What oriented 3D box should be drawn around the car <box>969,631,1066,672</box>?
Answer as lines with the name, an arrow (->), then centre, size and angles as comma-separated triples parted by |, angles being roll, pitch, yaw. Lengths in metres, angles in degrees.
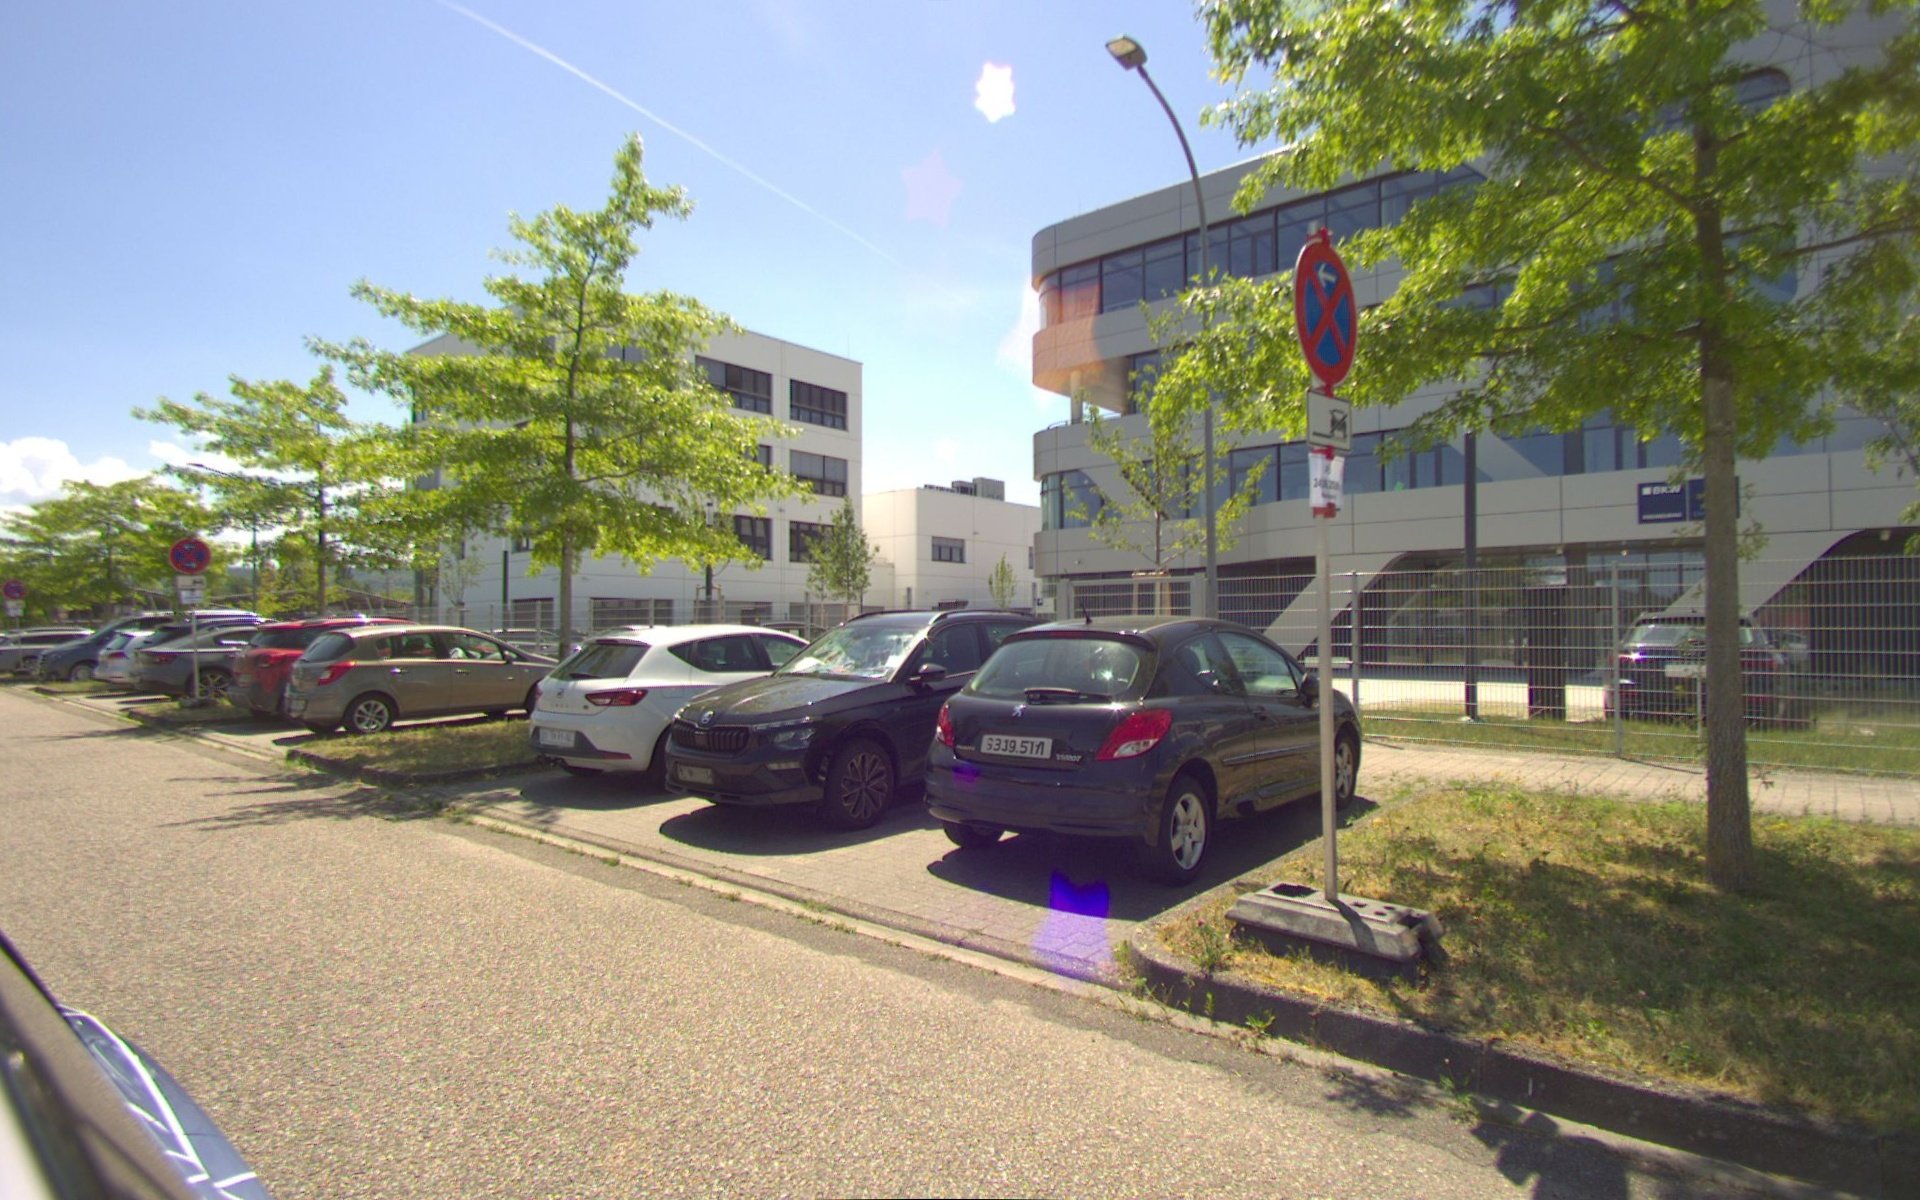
car -> 2.534, 2.302, 45.054 | 3.997, 1.730, 1.973 | -2, -4, 41

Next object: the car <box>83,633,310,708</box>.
car -> -17.913, 1.600, 23.911 | 1.602, 1.472, 3.999 | -2, -1, 38

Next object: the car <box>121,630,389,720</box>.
car -> -14.138, 1.434, 20.481 | 1.712, 1.491, 4.150 | -2, -1, 41

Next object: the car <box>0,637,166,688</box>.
car -> -29.847, 2.064, 34.026 | 1.856, 1.458, 4.666 | -3, -1, 39

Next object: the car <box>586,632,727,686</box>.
car -> -8.461, 1.617, 28.376 | 1.676, 1.401, 3.444 | -2, -3, 40

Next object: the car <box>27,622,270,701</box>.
car -> -22.355, 1.612, 28.060 | 1.996, 1.906, 5.015 | -3, -2, 42

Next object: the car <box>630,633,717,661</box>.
car -> -13.230, 2.146, 46.596 | 3.998, 1.237, 1.973 | -1, -3, 41

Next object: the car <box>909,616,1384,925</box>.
car -> 1.484, 0.877, 6.924 | 1.724, 1.446, 3.591 | -2, -1, 38

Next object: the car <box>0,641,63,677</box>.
car -> -45.029, 2.817, 47.815 | 1.728, 1.604, 3.862 | -3, -2, 44

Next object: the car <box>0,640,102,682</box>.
car -> -38.091, 2.514, 41.594 | 1.806, 1.524, 4.127 | -4, -2, 42

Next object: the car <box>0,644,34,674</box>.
car -> -48.866, 3.004, 50.713 | 1.726, 1.452, 3.469 | -3, -1, 40

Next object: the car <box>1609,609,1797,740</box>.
car -> 9.433, 0.907, 12.750 | 1.676, 1.401, 3.444 | -2, -4, 40

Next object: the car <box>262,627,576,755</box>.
car -> -7.677, 1.200, 14.626 | 1.728, 1.520, 3.623 | -2, -1, 37

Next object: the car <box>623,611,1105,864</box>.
car -> -0.589, 0.907, 8.479 | 1.783, 1.532, 3.888 | -2, -1, 40

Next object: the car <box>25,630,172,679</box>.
car -> -32.609, 2.040, 38.402 | 1.727, 1.647, 4.073 | -3, -1, 42

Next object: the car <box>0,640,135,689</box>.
car -> -31.845, 2.247, 35.482 | 1.725, 1.484, 4.269 | -3, -1, 38

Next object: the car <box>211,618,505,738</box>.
car -> -9.598, 1.149, 16.316 | 1.816, 1.634, 3.698 | -2, -1, 41

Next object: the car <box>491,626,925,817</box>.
car -> -2.362, 1.045, 10.361 | 1.870, 1.435, 4.038 | -2, -1, 37

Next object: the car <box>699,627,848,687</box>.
car -> -4.689, 1.461, 25.727 | 1.676, 1.401, 3.443 | -2, -5, 40

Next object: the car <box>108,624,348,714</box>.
car -> -16.116, 1.439, 22.459 | 1.773, 1.691, 3.952 | -2, -1, 36

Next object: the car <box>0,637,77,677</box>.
car -> -40.364, 2.450, 43.190 | 1.725, 1.604, 3.802 | -3, -1, 38
